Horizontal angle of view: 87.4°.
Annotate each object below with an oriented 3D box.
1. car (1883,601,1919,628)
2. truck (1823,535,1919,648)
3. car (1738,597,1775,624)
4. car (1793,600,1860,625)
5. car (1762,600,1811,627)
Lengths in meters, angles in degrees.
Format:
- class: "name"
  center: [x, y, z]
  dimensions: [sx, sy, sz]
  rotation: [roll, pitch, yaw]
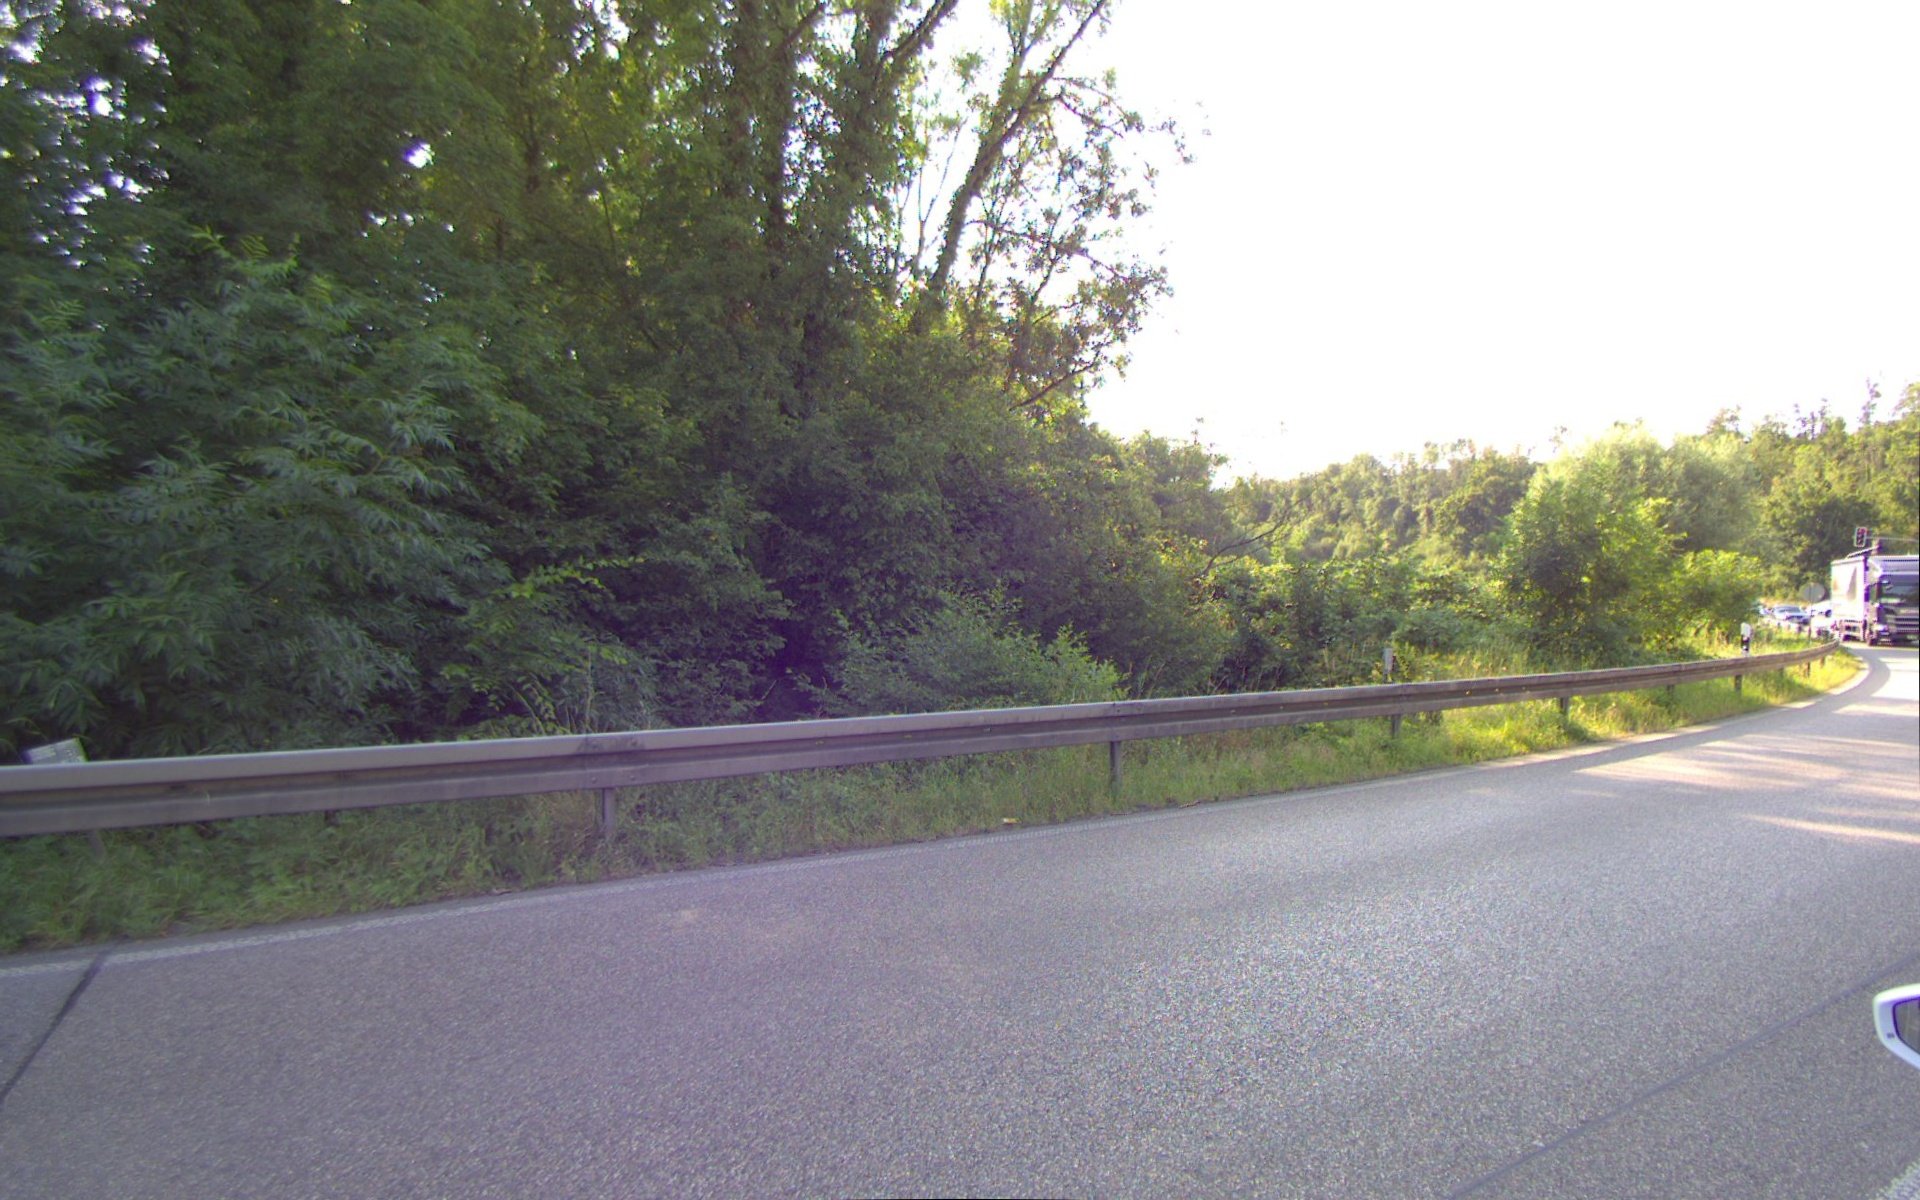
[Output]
- class: "car"
  center: [59.992, 0.898, 63.283]
  dimensions: [1.841, 1.586, 3.991]
  rotation: [3, 2, 31]
- class: "truck"
  center: [42.176, -0.270, 45.628]
  dimensions: [2.970, 4.646, 10.214]
  rotation: [2, 0, 33]
- class: "car"
  center: [60.007, 0.750, 75.750]
  dimensions: [1.842, 1.876, 3.987]
  rotation: [3, 2, 35]
- class: "car"
  center: [72.106, 1.059, 83.630]
  dimensions: [3.921, 1.876, 1.873]
  rotation: [2, 2, 0]
- class: "car"
  center: [54.542, 0.868, 66.338]
  dimensions: [1.840, 1.577, 3.991]
  rotation: [3, 2, 31]
